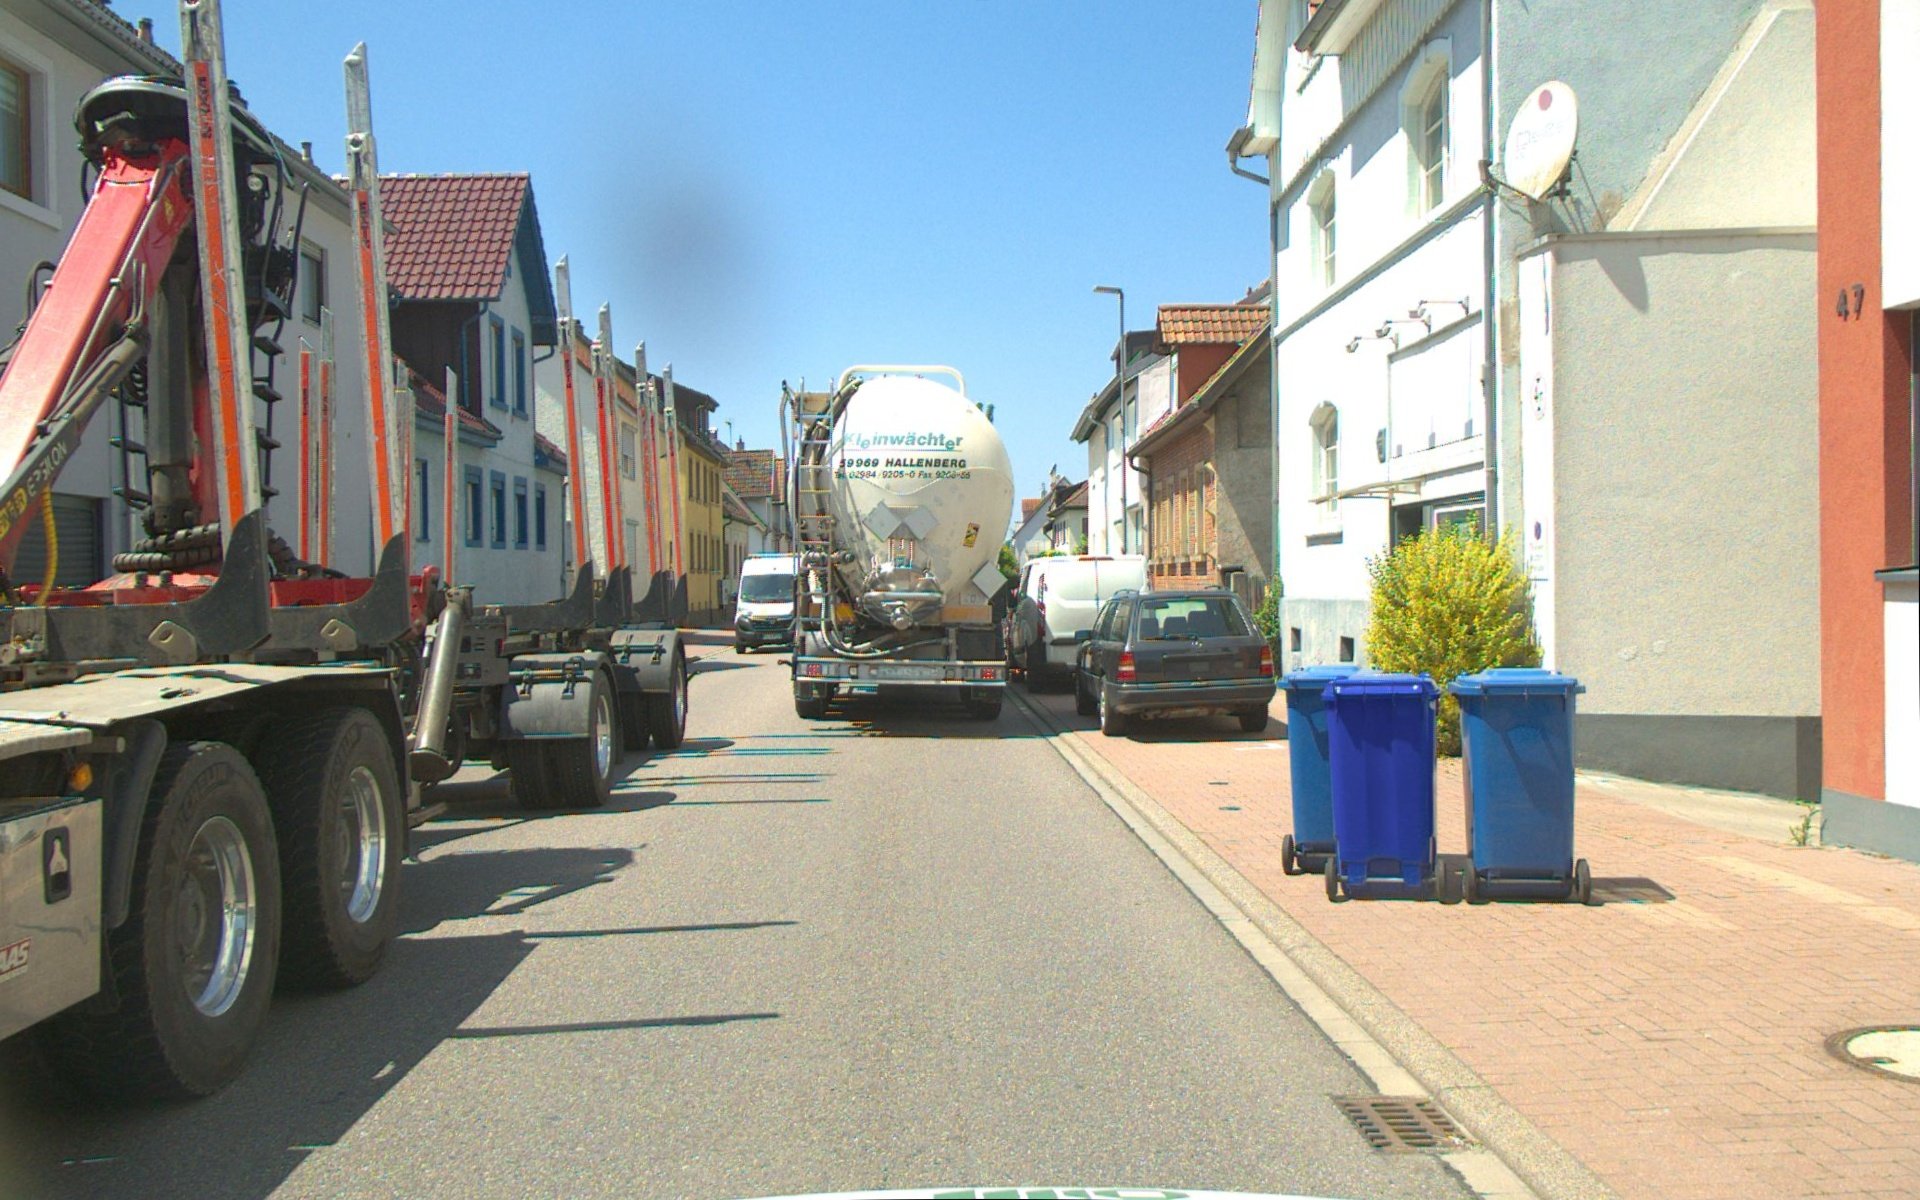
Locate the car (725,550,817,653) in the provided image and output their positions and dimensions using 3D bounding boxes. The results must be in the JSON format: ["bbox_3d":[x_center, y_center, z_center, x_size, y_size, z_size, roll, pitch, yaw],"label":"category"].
[{"bbox_3d":[-5.065,0.015,44.980,2.083,2.586,5.458,-2,1,-3],"label":"car"}]

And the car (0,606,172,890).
[{"bbox_3d":[-6.405,0.858,9.340,1.772,1.584,4.563,2,0,-1],"label":"car"}]

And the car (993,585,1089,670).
[{"bbox_3d":[1.544,0.496,32.650,1.578,1.555,3.675,-1,0,-2],"label":"car"}]

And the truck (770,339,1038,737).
[{"bbox_3d":[-0.724,-0.623,21.013,2.678,4.029,8.138,1,0,-2],"label":"truck"}]

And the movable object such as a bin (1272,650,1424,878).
[{"bbox_3d":[2.070,0.846,8.804,0.707,1.092,0.973,-2,0,14],"label":"movable object such as a bin"}]

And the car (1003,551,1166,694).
[{"bbox_3d":[1.848,0.300,26.078,1.907,2.005,4.782,-1,0,-3],"label":"car"}]

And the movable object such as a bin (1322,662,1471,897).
[{"bbox_3d":[2.129,0.860,8.099,0.641,1.053,0.685,-2,0,14],"label":"movable object such as a bin"}]

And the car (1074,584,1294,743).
[{"bbox_3d":[2.317,0.591,18.218,1.734,1.491,4.577,-1,1,-1],"label":"car"}]

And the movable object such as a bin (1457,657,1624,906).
[{"bbox_3d":[2.755,0.845,7.923,0.640,1.078,0.836,-2,0,14],"label":"movable object such as a bin"}]

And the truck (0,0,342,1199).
[{"bbox_3d":[-3.331,-0.487,2.155,2.566,4.055,6.849,-2,0,-2],"label":"truck"}]

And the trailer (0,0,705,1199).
[{"bbox_3d":[-3.712,-0.560,9.307,2.578,4.048,15.692,-2,0,-2],"label":"trailer"}]
